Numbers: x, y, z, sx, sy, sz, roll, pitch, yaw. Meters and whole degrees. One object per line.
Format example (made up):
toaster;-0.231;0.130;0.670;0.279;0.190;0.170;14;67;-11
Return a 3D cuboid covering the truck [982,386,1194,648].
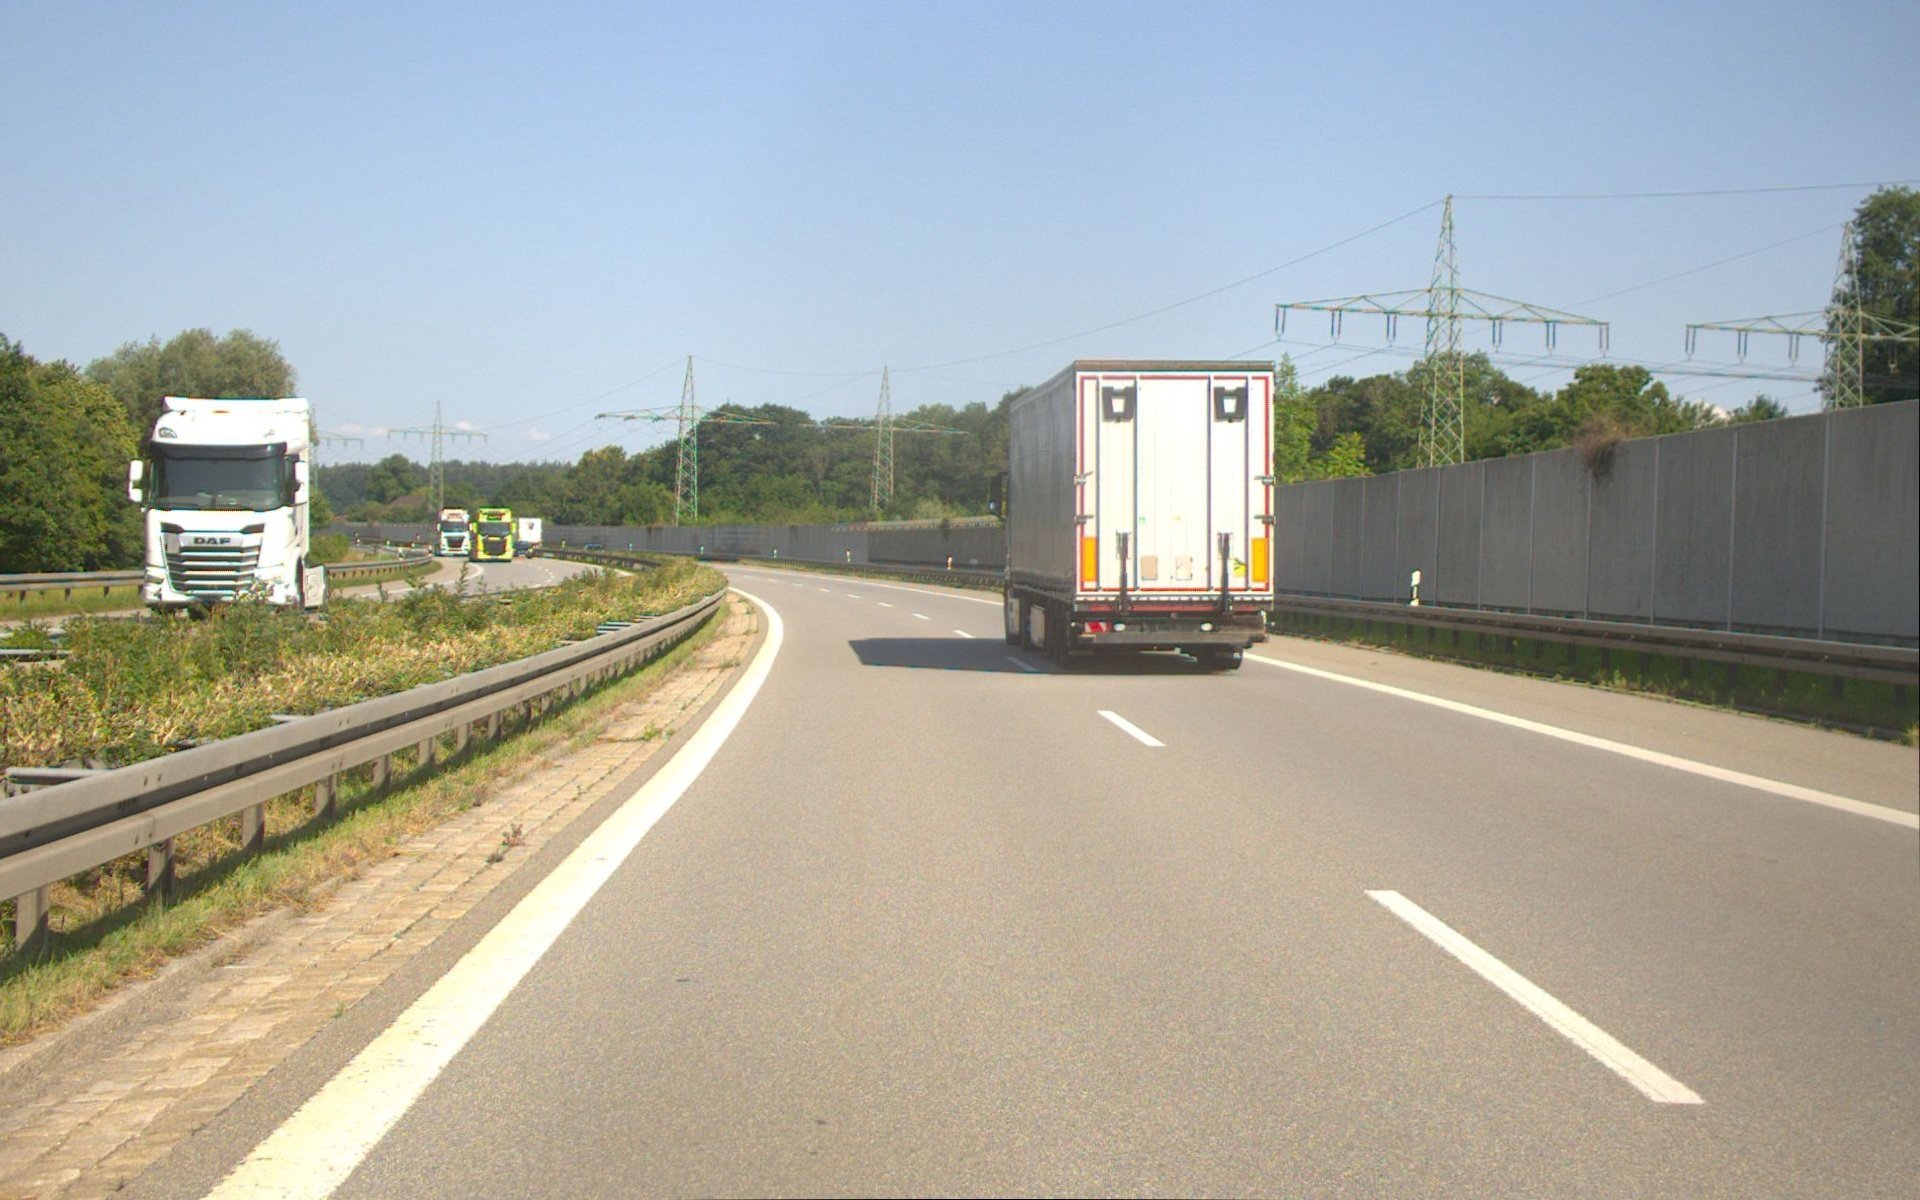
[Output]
truck;1.981;-1.299;55.976;2.830;3.998;6.588;0;1;-3

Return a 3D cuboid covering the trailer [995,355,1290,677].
trailer;2.365;-1.126;49.604;2.884;4.052;12.422;0;1;-3

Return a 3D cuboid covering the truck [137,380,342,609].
truck;-12.702;-1.811;61.119;2.624;3.826;6.811;0;1;-4

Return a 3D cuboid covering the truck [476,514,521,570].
truck;-33.123;-4.142;246.385;2.757;3.894;8.773;0;1;-10
